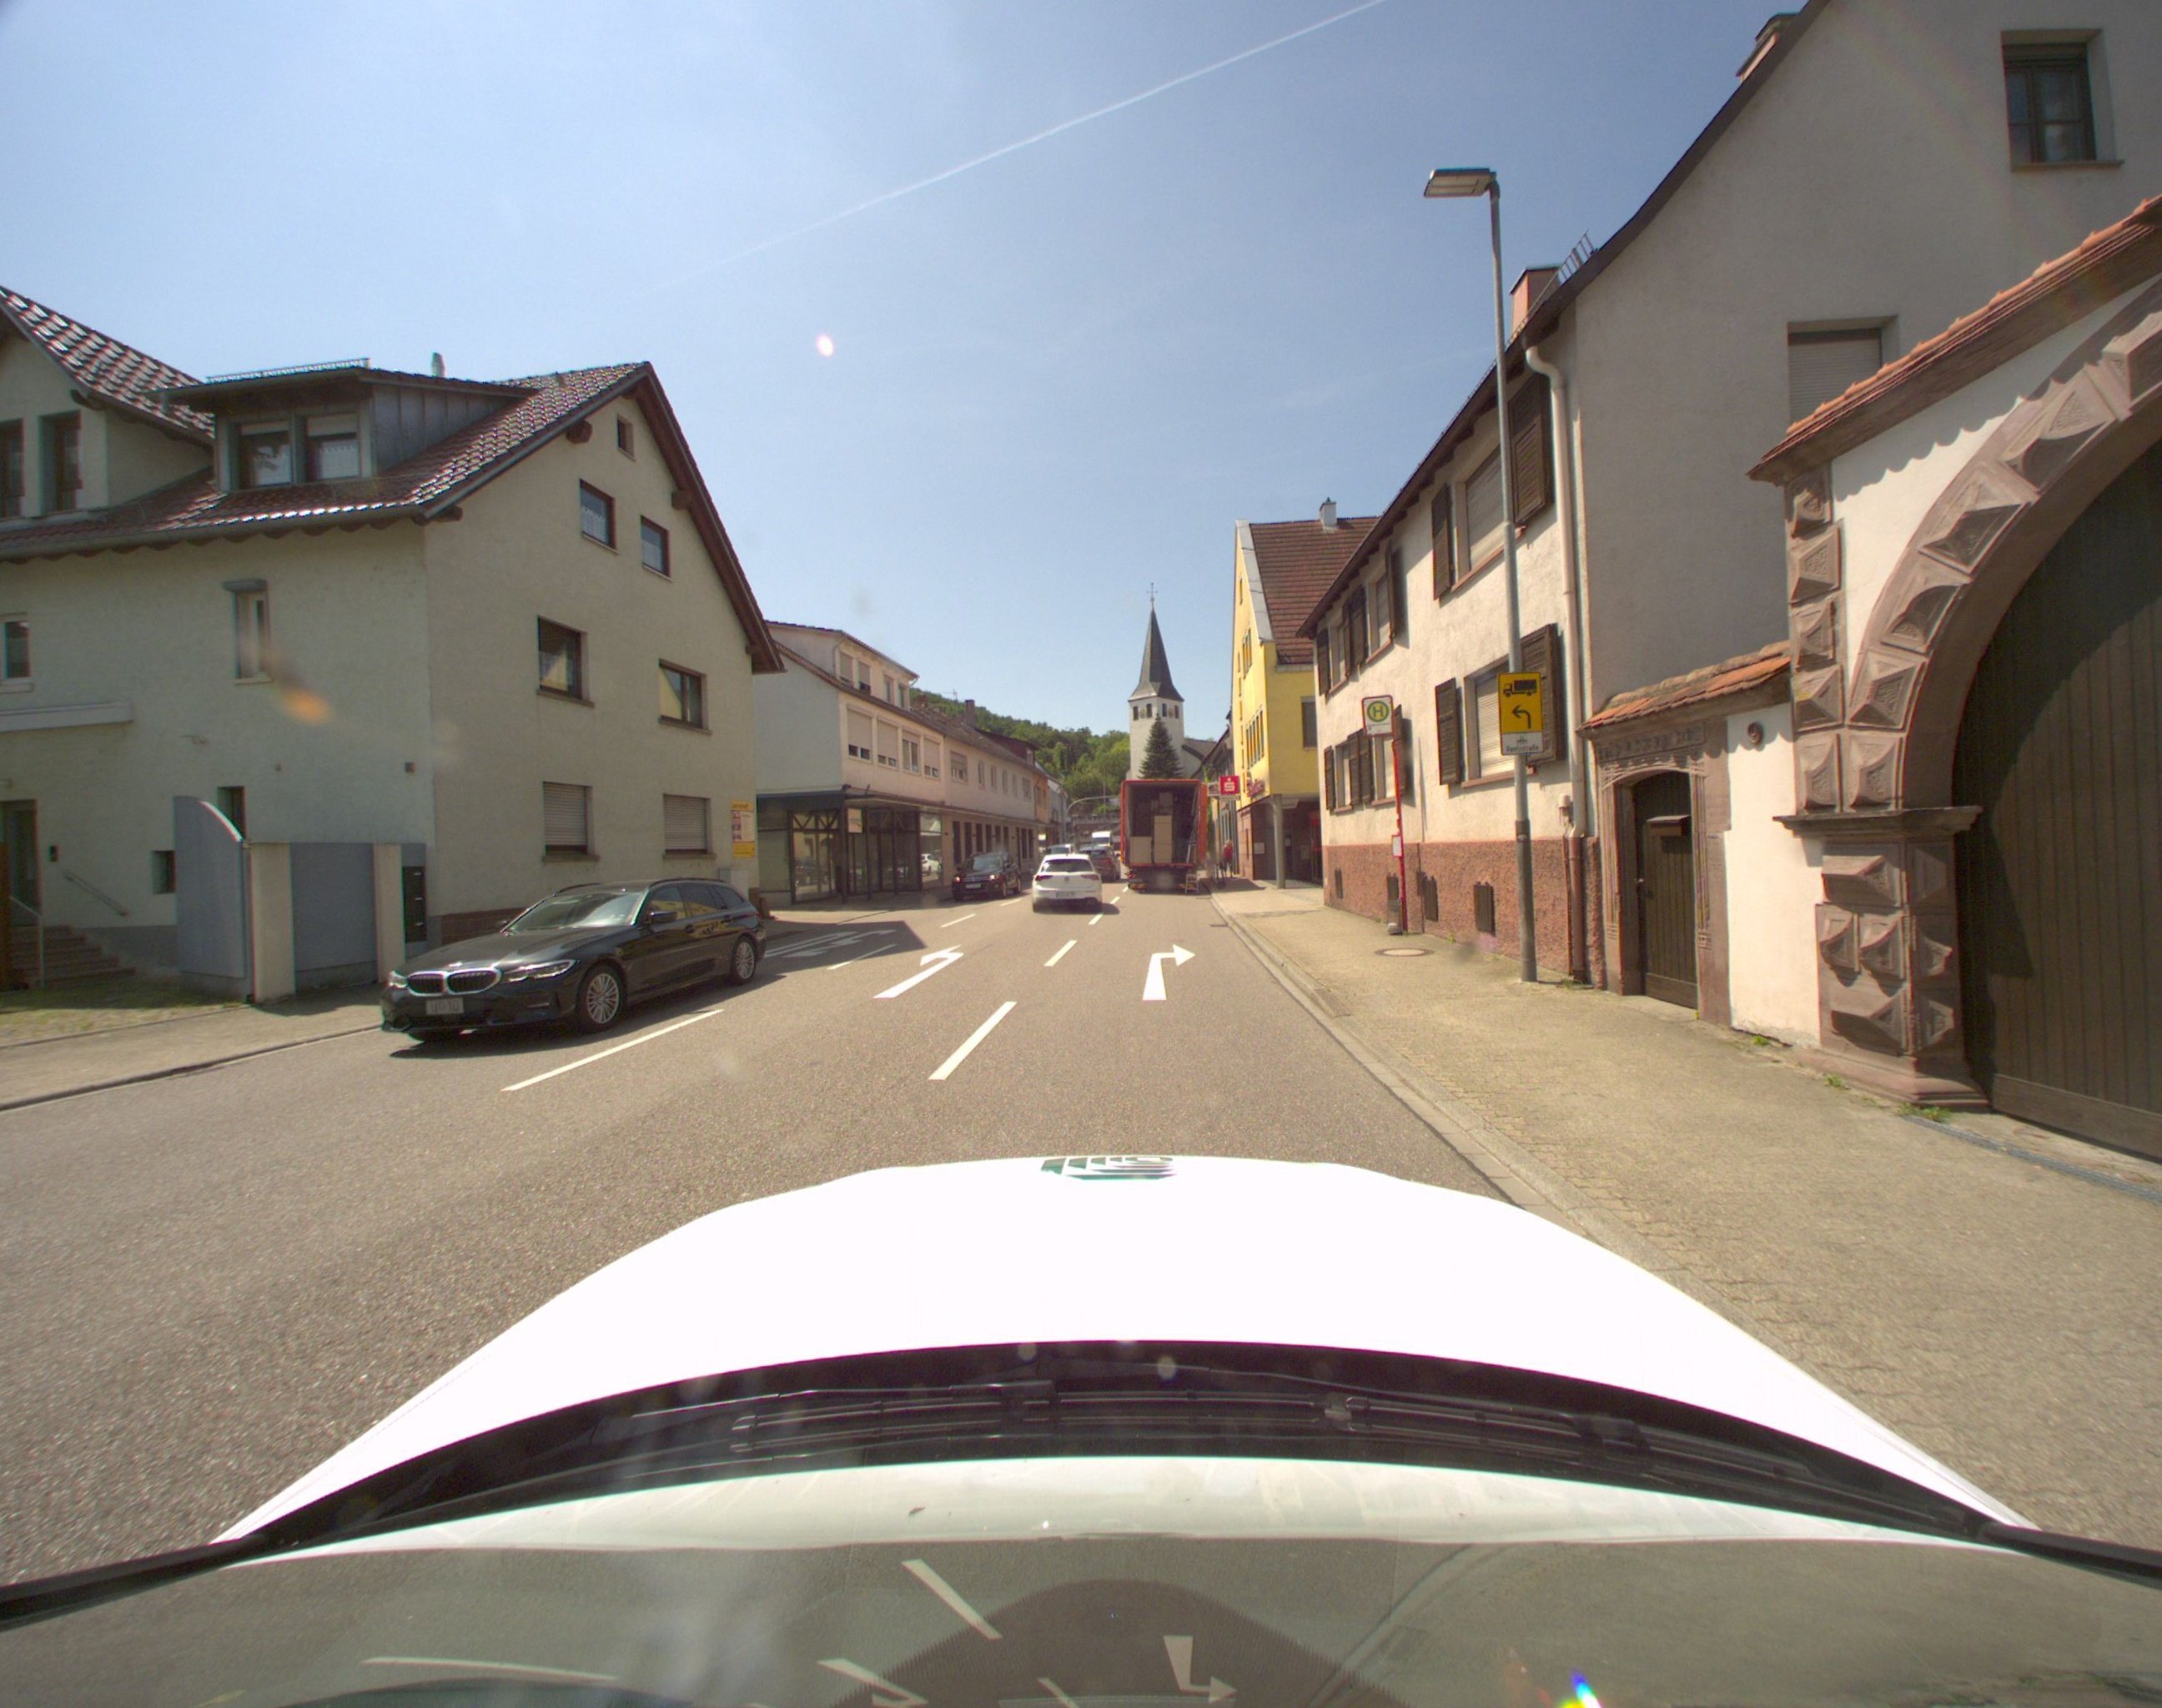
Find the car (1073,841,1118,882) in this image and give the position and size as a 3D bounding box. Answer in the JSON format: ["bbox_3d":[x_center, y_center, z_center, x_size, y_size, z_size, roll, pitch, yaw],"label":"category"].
[{"bbox_3d":[0.677,0.348,36.614,1.808,1.628,4.001,-4,-1,1],"label":"car"}]

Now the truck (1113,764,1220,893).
[{"bbox_3d":[3.218,-0.841,32.433,3.352,4.170,9.528,-4,-1,4],"label":"truck"}]

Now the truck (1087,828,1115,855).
[{"bbox_3d":[2.053,-1.197,81.635,2.106,2.474,5.748,-4,-1,7],"label":"truck"}]

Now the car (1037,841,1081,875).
[{"bbox_3d":[-1.232,0.194,48.023,1.792,1.779,4.714,-4,0,7],"label":"car"}]

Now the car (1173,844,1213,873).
[{"bbox_3d":[6.548,0.271,47.897,1.808,1.519,4.001,-4,-1,1],"label":"car"}]

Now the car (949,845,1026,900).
[{"bbox_3d":[-3.266,0.601,29.265,1.682,1.698,4.121,-4,1,7],"label":"car"}]

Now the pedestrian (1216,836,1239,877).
[{"bbox_3d":[6.509,0.112,36.233,0.766,1.742,0.870,-4,-1,0],"label":"pedestrian"}]

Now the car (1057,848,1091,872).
[{"bbox_3d":[-0.471,0.455,62.554,1.983,1.651,4.008,-4,-1,7],"label":"car"}]

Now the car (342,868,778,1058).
[{"bbox_3d":[-5.333,0.979,9.233,1.785,1.493,4.426,-4,-1,4],"label":"car"}]

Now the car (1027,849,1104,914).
[{"bbox_3d":[-0.317,0.674,21.631,1.808,1.519,4.001,-1,-1,1],"label":"car"}]
